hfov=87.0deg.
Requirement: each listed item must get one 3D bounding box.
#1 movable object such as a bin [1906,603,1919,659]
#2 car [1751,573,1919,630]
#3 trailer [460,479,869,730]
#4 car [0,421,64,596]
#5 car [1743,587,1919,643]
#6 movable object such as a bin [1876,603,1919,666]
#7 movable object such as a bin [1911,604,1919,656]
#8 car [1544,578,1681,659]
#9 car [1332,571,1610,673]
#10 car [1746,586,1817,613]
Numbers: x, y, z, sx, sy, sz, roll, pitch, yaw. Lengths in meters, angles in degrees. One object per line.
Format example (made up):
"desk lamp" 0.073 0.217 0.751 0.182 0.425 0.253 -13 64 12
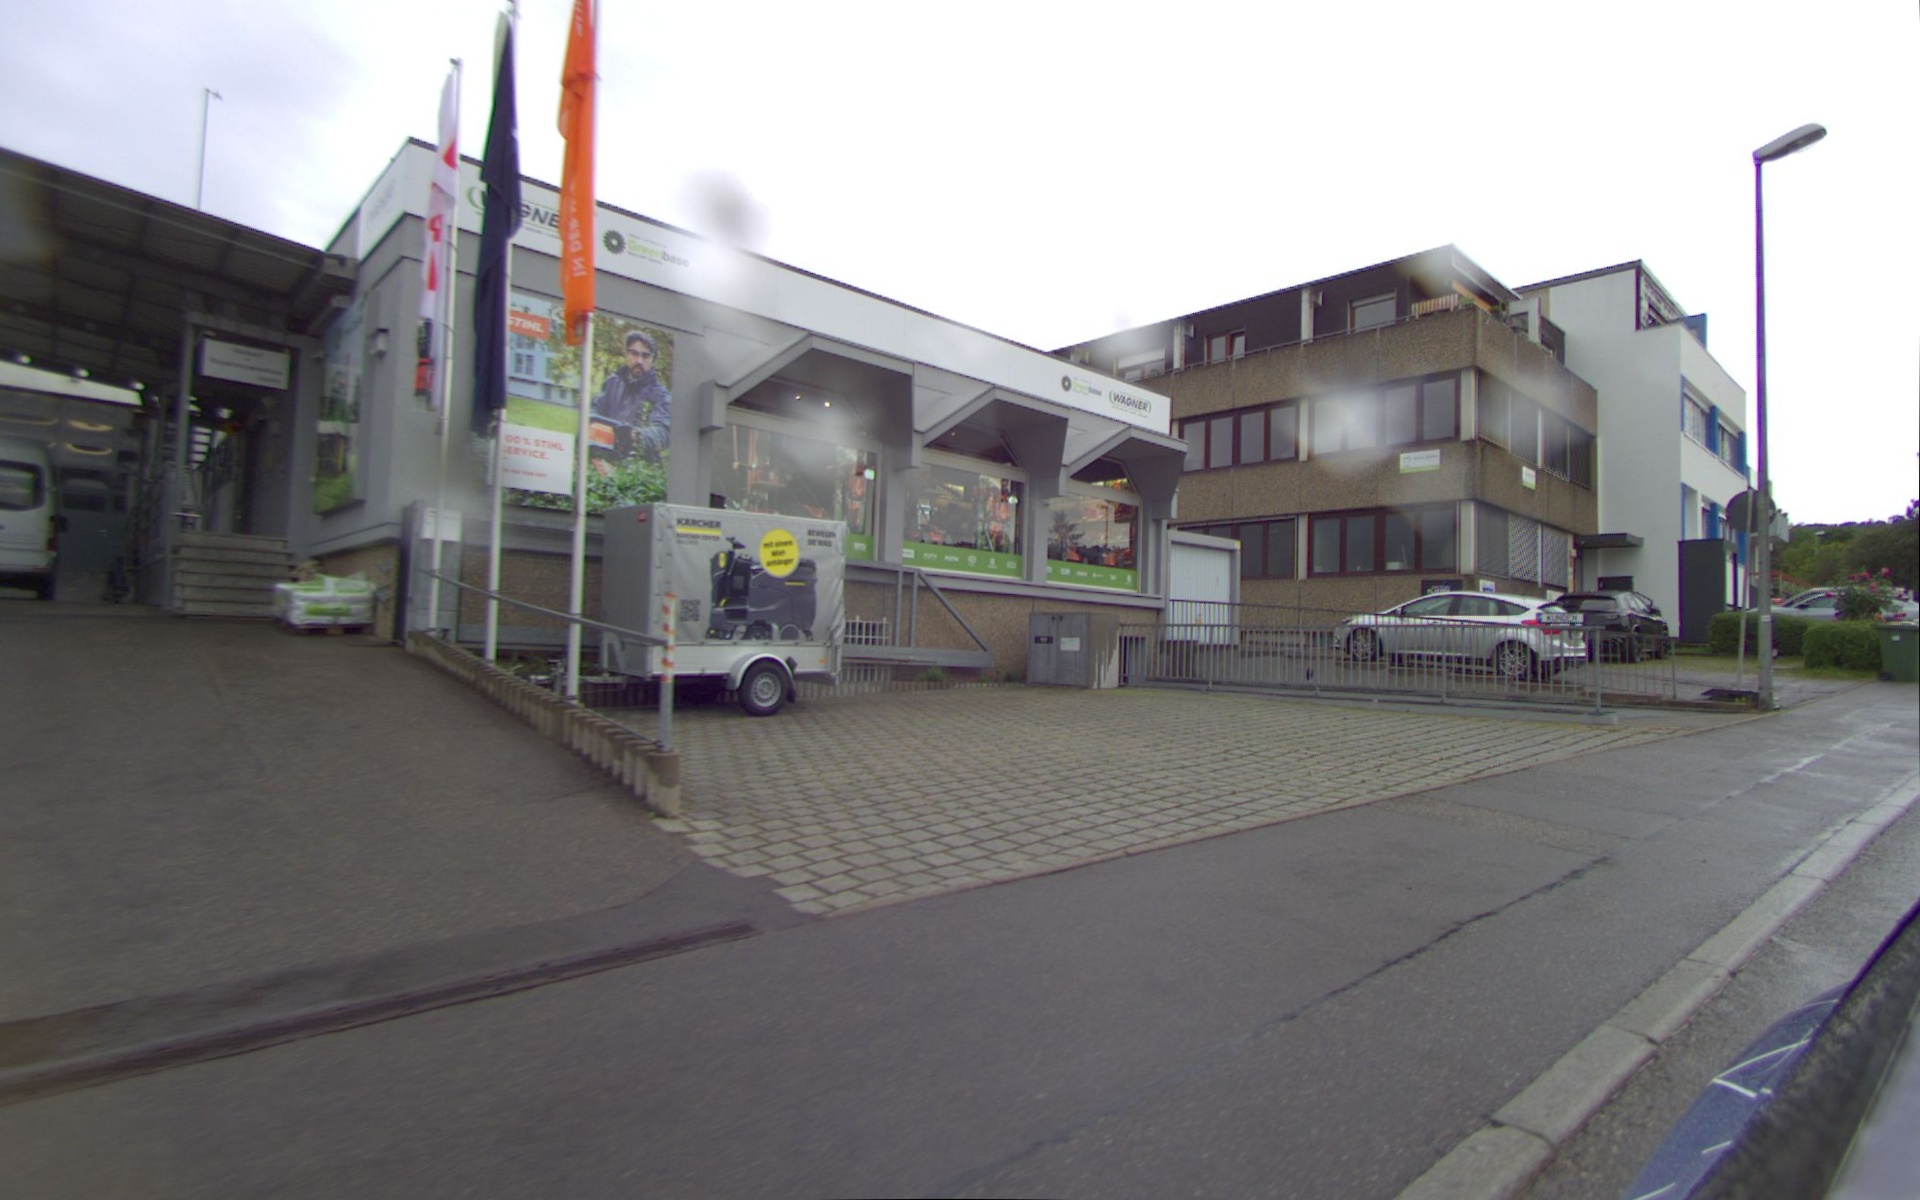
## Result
"movable object such as a bin" 18.910 0.607 19.631 0.626 1.080 0.744 0 -1 -41
"car" 29.387 0.030 33.902 2.055 1.795 4.343 0 0 -44
"trailer" -3.340 0.070 11.964 4.234 2.448 1.889 1 -1 -42
"car" -16.813 -1.442 17.362 1.966 2.654 5.397 3 -2 -42
"car" 27.464 0.434 31.525 2.044 1.557 4.602 0 2 -43
"movable object such as a bin" 17.349 0.619 18.473 0.689 1.127 0.732 0 -1 -27
"movable object such as a bin" 19.469 0.593 20.089 0.794 1.043 0.773 0 -1 -42
"car" 15.715 0.371 24.282 4.399 1.772 1.750 -1 1 -43
"car" 9.252 0.298 18.567 1.970 1.593 4.126 -1 3 -43
"car" 55.456 -0.057 68.410 1.829 1.604 4.315 -1 3 11
